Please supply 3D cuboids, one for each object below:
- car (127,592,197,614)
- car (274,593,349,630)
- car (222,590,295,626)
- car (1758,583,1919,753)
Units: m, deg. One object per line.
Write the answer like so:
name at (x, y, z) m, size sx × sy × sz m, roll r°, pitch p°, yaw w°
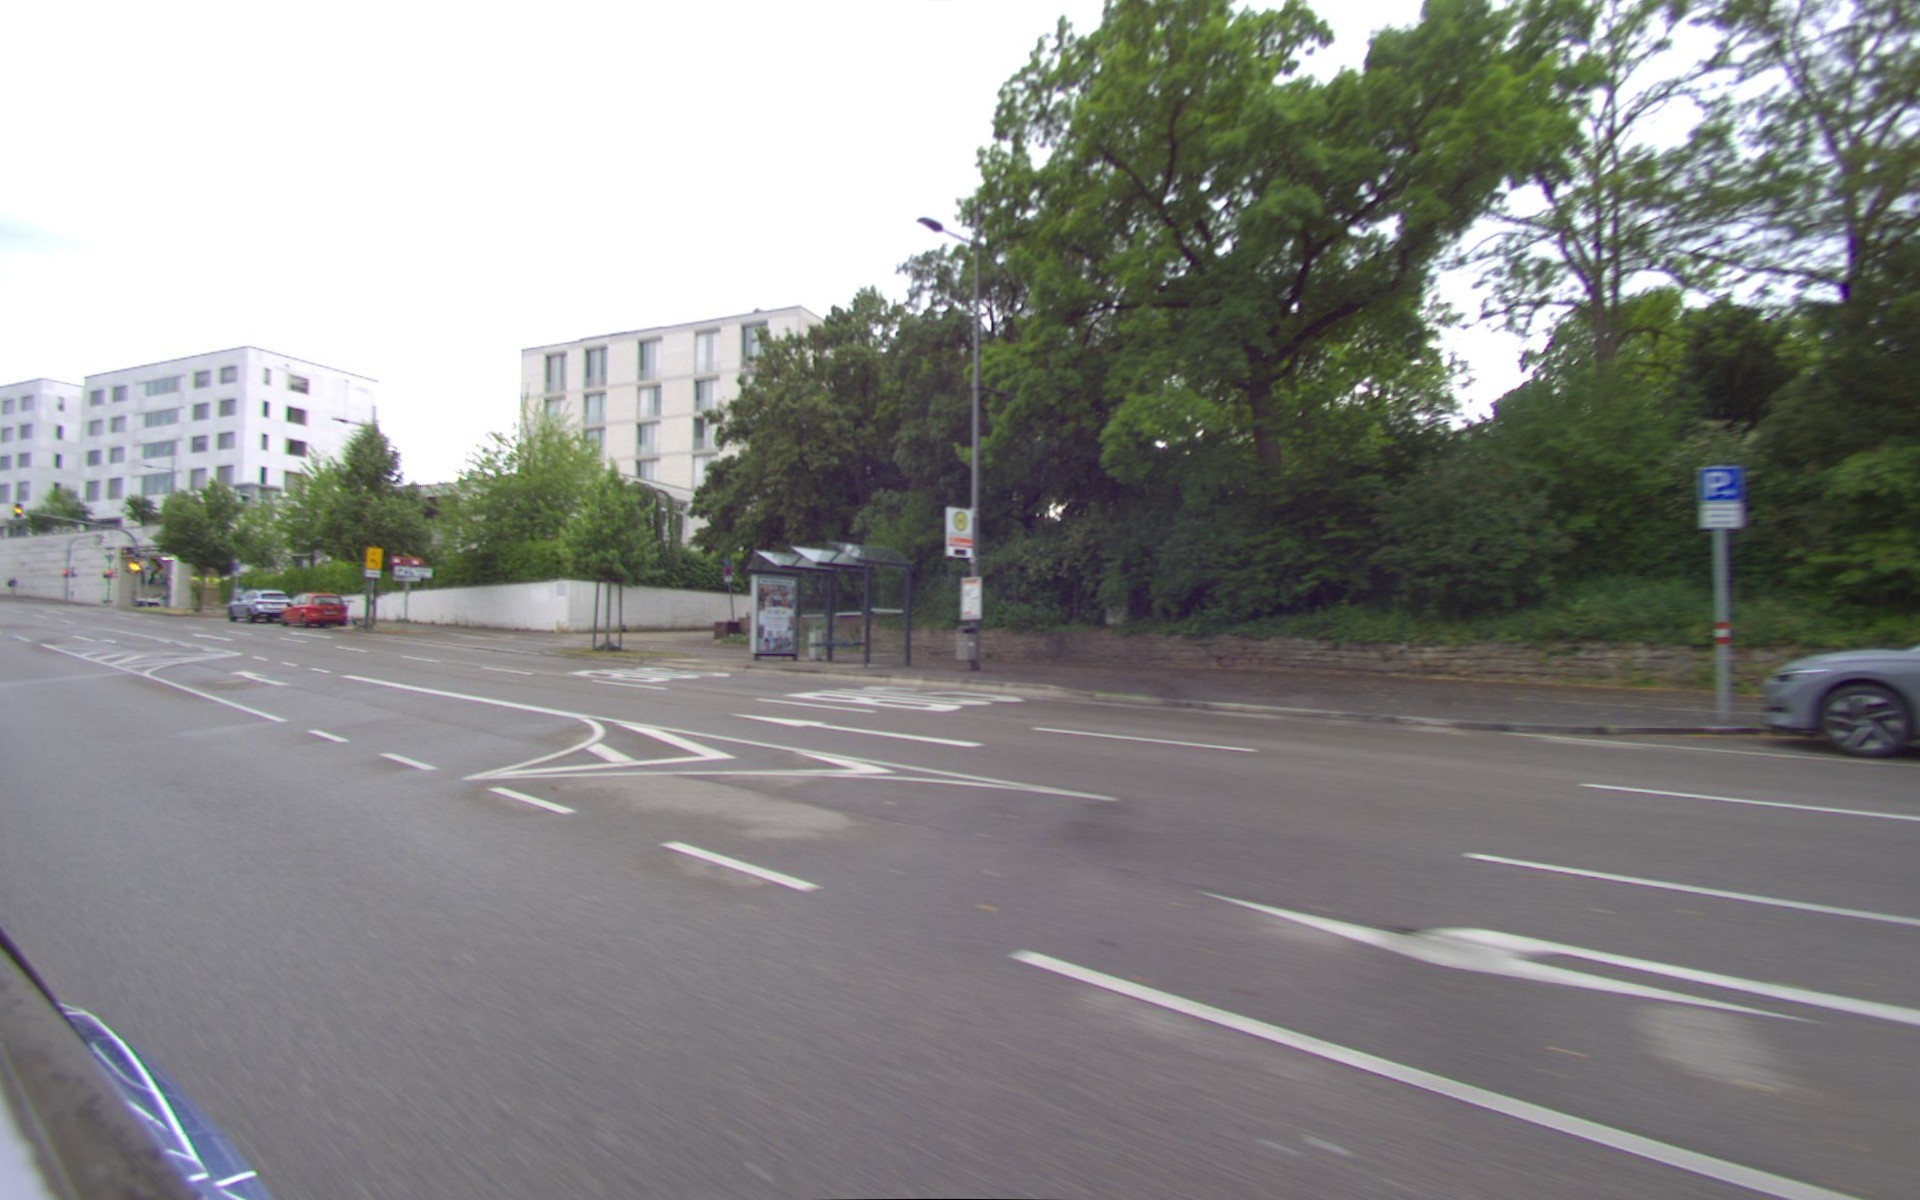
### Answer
car at (-68.647, 0.240, 87.107) m, size 1.986 × 1.664 × 4.315 m, roll 2°, pitch -2°, yaw 21°
car at (-30.026, 0.517, 46.807) m, size 4.213 × 1.599 × 1.648 m, roll 1°, pitch -1°, yaw 39°
car at (-35.536, 0.364, 51.209) m, size 4.879 × 1.666 × 1.746 m, roll 1°, pitch 0°, yaw 39°
car at (10.576, 0.631, 9.261) m, size 1.819 × 1.601 × 4.933 m, roll 0°, pitch -1°, yaw -43°
